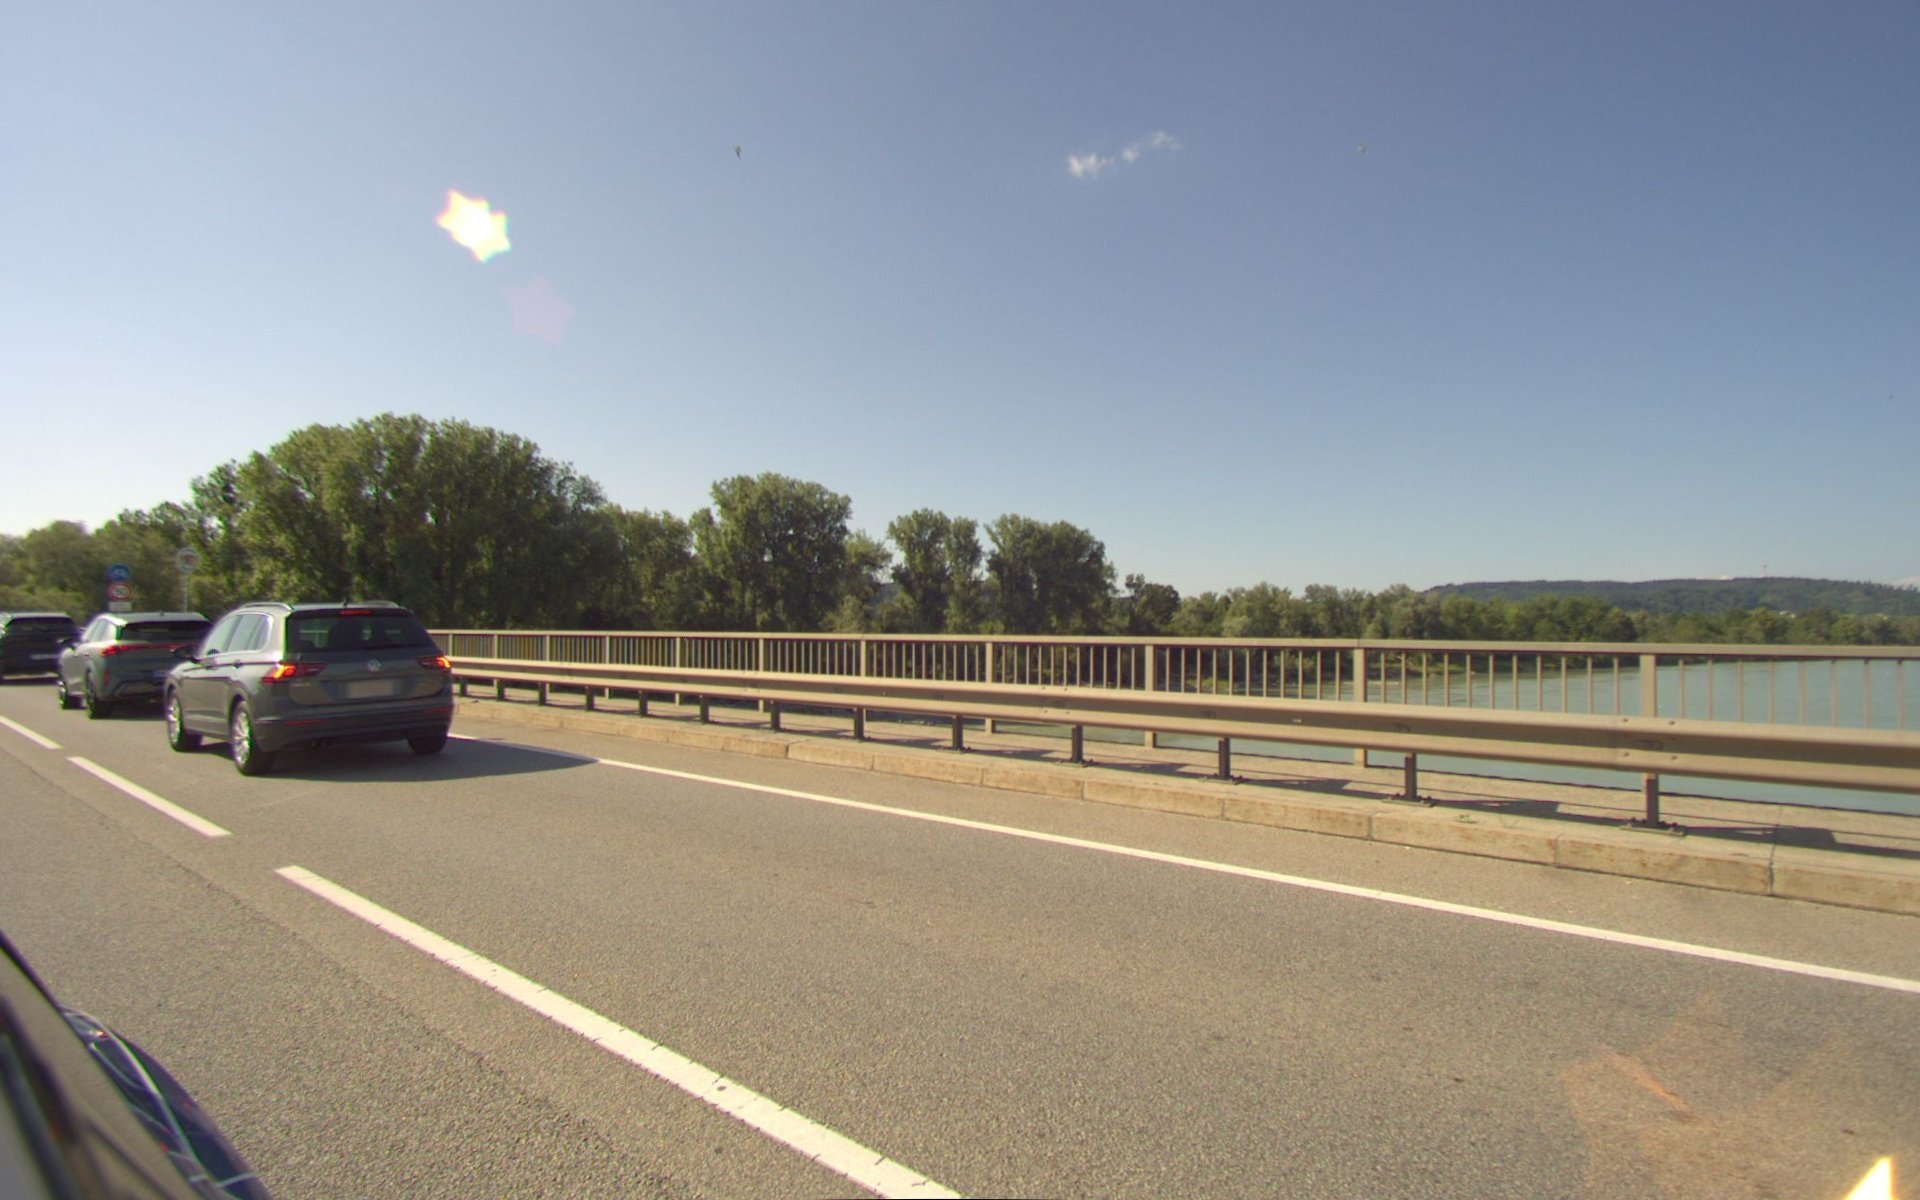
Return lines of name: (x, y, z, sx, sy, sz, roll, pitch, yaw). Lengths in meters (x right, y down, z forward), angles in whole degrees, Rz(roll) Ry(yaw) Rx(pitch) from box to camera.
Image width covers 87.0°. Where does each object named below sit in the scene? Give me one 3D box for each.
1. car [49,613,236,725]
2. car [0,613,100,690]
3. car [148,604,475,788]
car: (-13.354, 1.029, 16.445, 4.200, 1.589, 1.787, -2, -1, 43)
car: (-23.050, 1.224, 25.060, 4.720, 1.665, 2.032, -1, 1, 42)
car: (-7.101, 0.880, 10.902, 4.271, 1.596, 1.855, -2, -1, 41)
